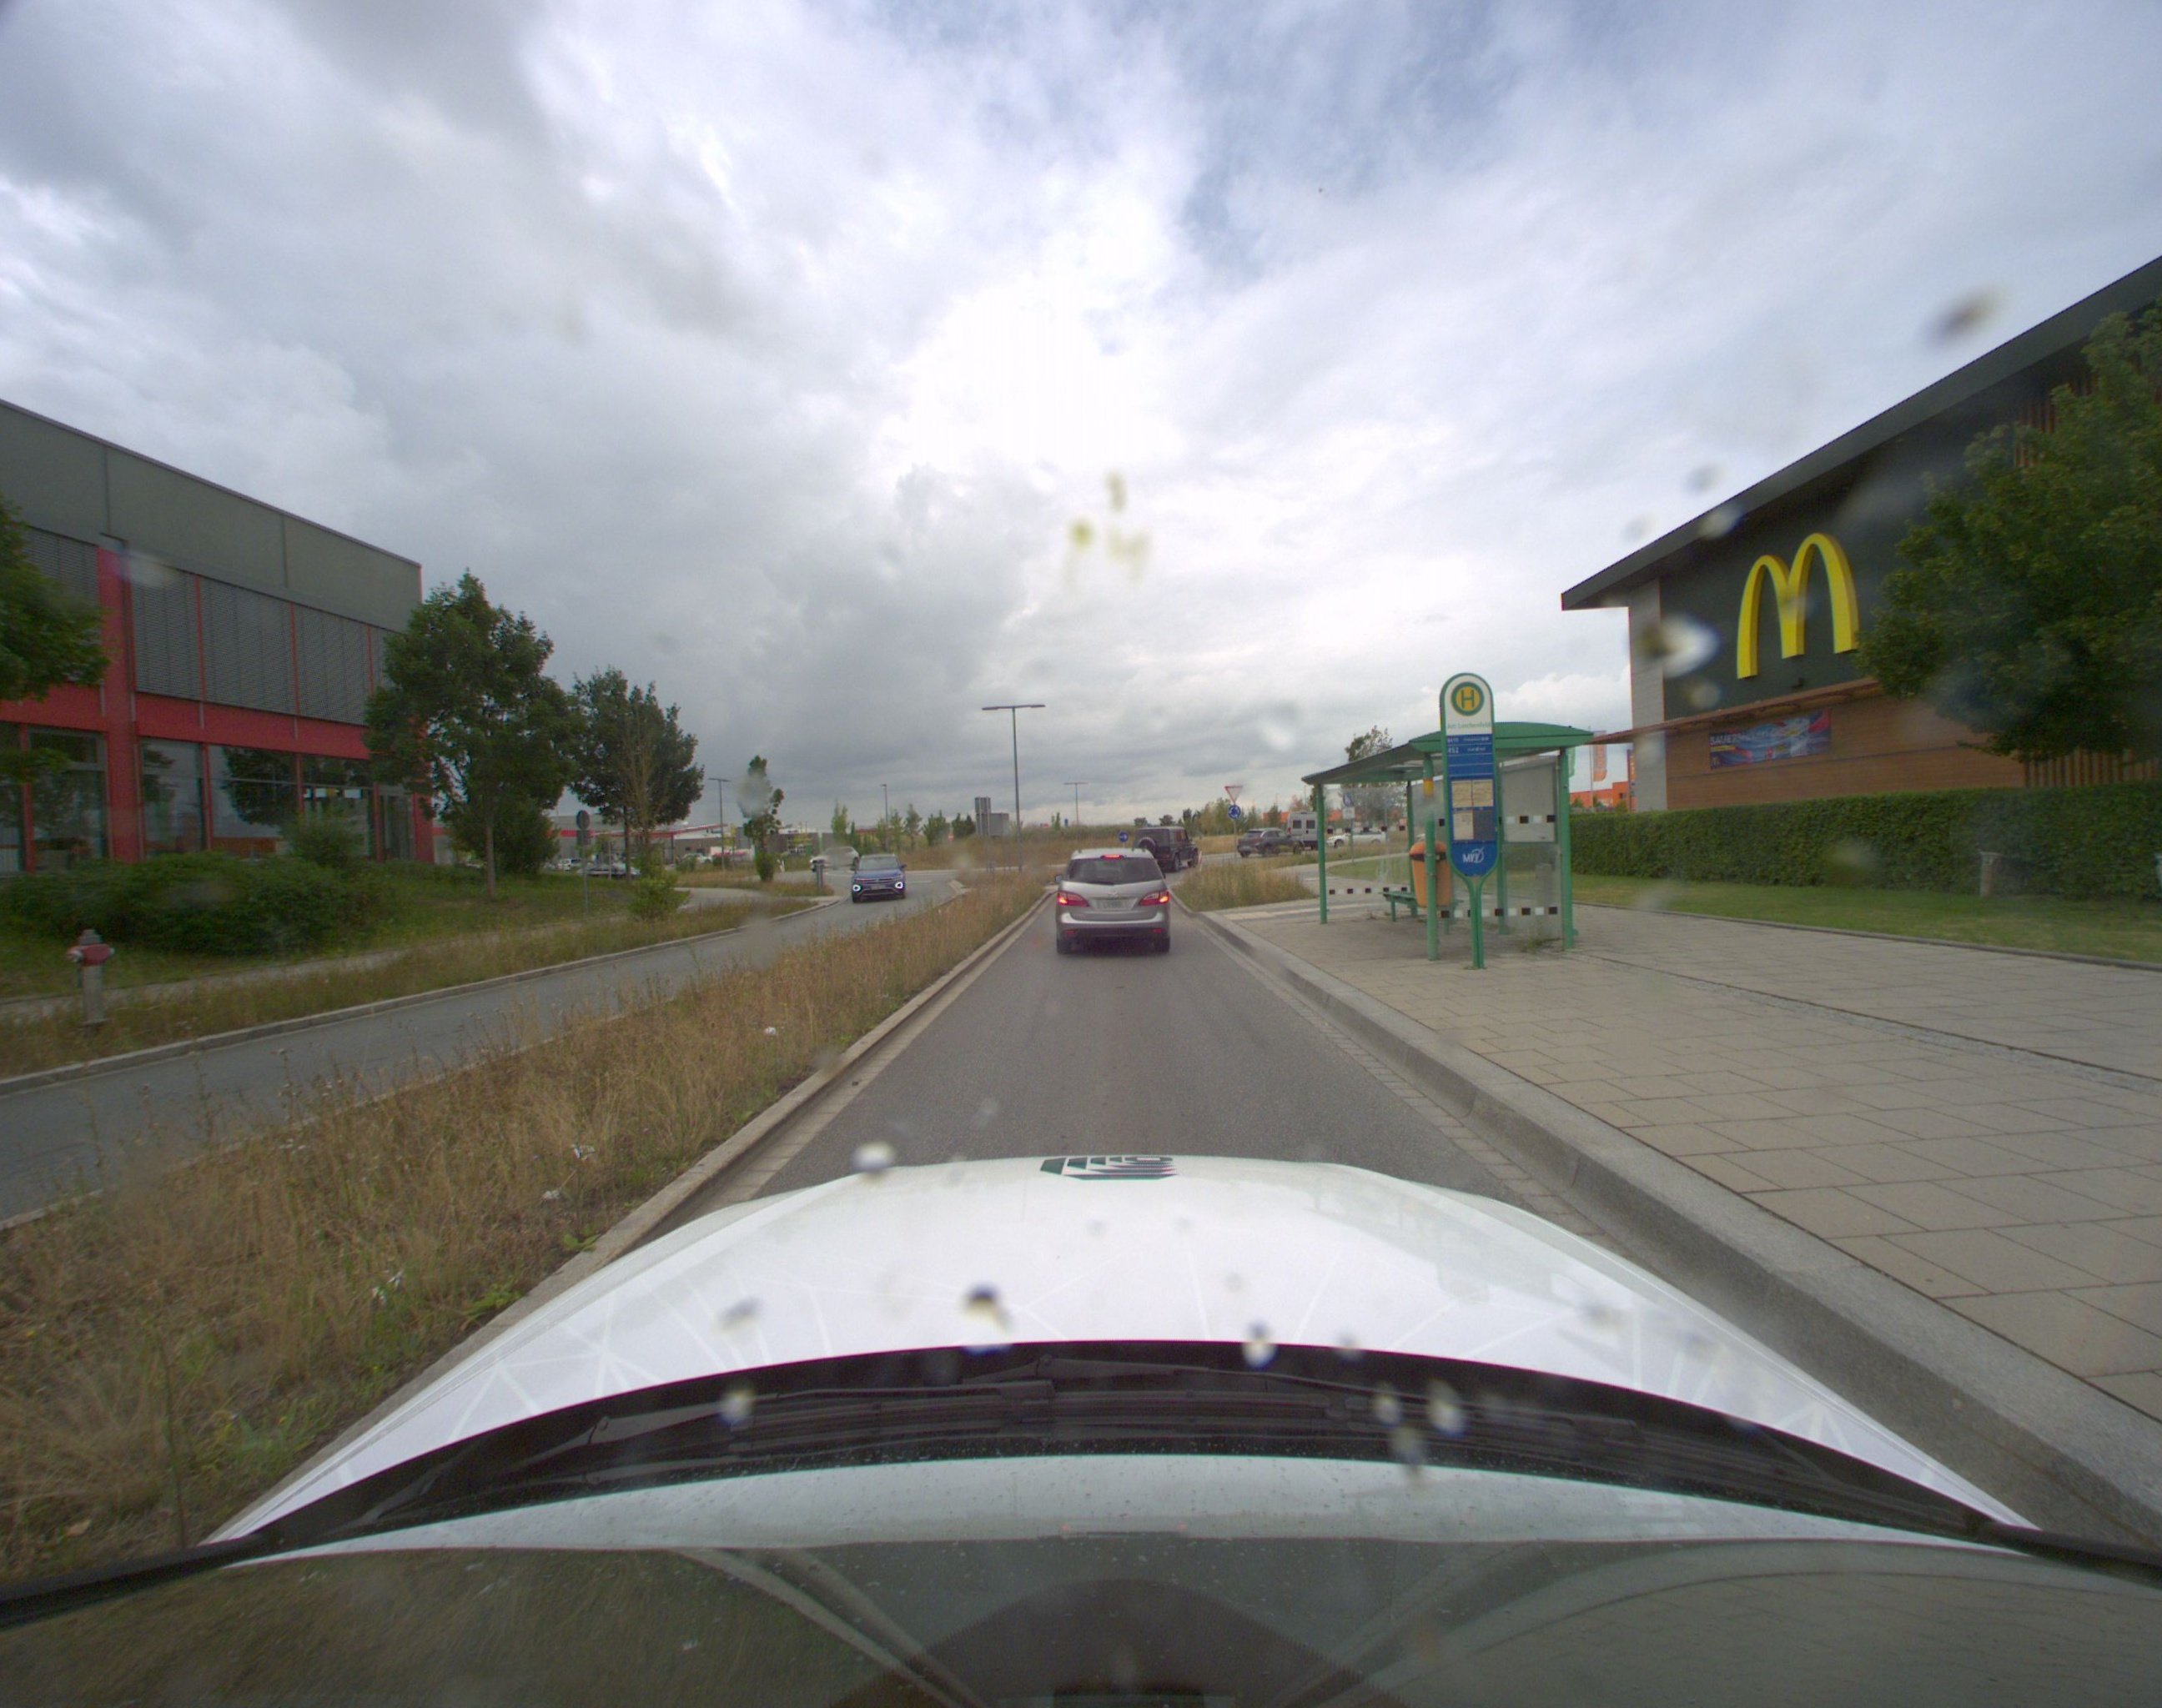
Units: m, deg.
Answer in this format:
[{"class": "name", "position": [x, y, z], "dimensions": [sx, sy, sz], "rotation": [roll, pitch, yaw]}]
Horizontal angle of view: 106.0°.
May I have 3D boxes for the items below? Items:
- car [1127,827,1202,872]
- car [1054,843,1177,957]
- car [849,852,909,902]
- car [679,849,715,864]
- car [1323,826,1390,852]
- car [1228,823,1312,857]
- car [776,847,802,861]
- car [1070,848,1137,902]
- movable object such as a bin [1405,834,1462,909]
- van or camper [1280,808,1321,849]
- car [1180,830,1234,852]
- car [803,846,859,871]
[{"class": "car", "position": [3.847, -0.221, 36.741], "dimensions": [2.040, 1.825, 4.812], "rotation": [-2, 0, 22]}, {"class": "car", "position": [0.515, 0.633, 13.515], "dimensions": [1.724, 1.600, 3.807], "rotation": [-1, 1, 1]}, {"class": "car", "position": [-7.174, 0.795, 29.160], "dimensions": [1.843, 1.528, 4.210], "rotation": [-4, 0, -12]}, {"class": "car", "position": [-54.236, 0.398, 115.091], "dimensions": [3.974, 2.013, 2.000], "rotation": [-2, 0, 0]}, {"class": "car", "position": [20.564, -1.138, 60.952], "dimensions": [4.571, 1.757, 2.007], "rotation": [-2, 0, 12]}, {"class": "car", "position": [10.374, -0.762, 44.574], "dimensions": [4.219, 1.592, 2.044], "rotation": [-4, 1, -32]}, {"class": "car", "position": [-40.849, -0.014, 113.924], "dimensions": [1.985, 1.859, 4.003], "rotation": [-2, 1, 3]}, {"class": "car", "position": [0.768, 0.567, 25.035], "dimensions": [1.837, 1.418, 4.229], "rotation": [-2, 1, 4]}, {"class": "movable object such as a bin", "position": [3.904, 0.189, 9.038], "dimensions": [0.454, 0.798, 0.380], "rotation": [-2, 0, 1]}, {"class": "van or camper", "position": [14.546, -1.669, 54.159], "dimensions": [2.287, 2.506, 5.223], "rotation": [-2, 1, 12]}, {"class": "car", "position": [9.531, -0.958, 62.010], "dimensions": [2.006, 1.515, 3.962], "rotation": [-2, 0, -29]}, {"class": "car", "position": [-17.936, 0.302, 58.612], "dimensions": [2.013, 1.690, 4.229], "rotation": [-2, 0, 12]}]
